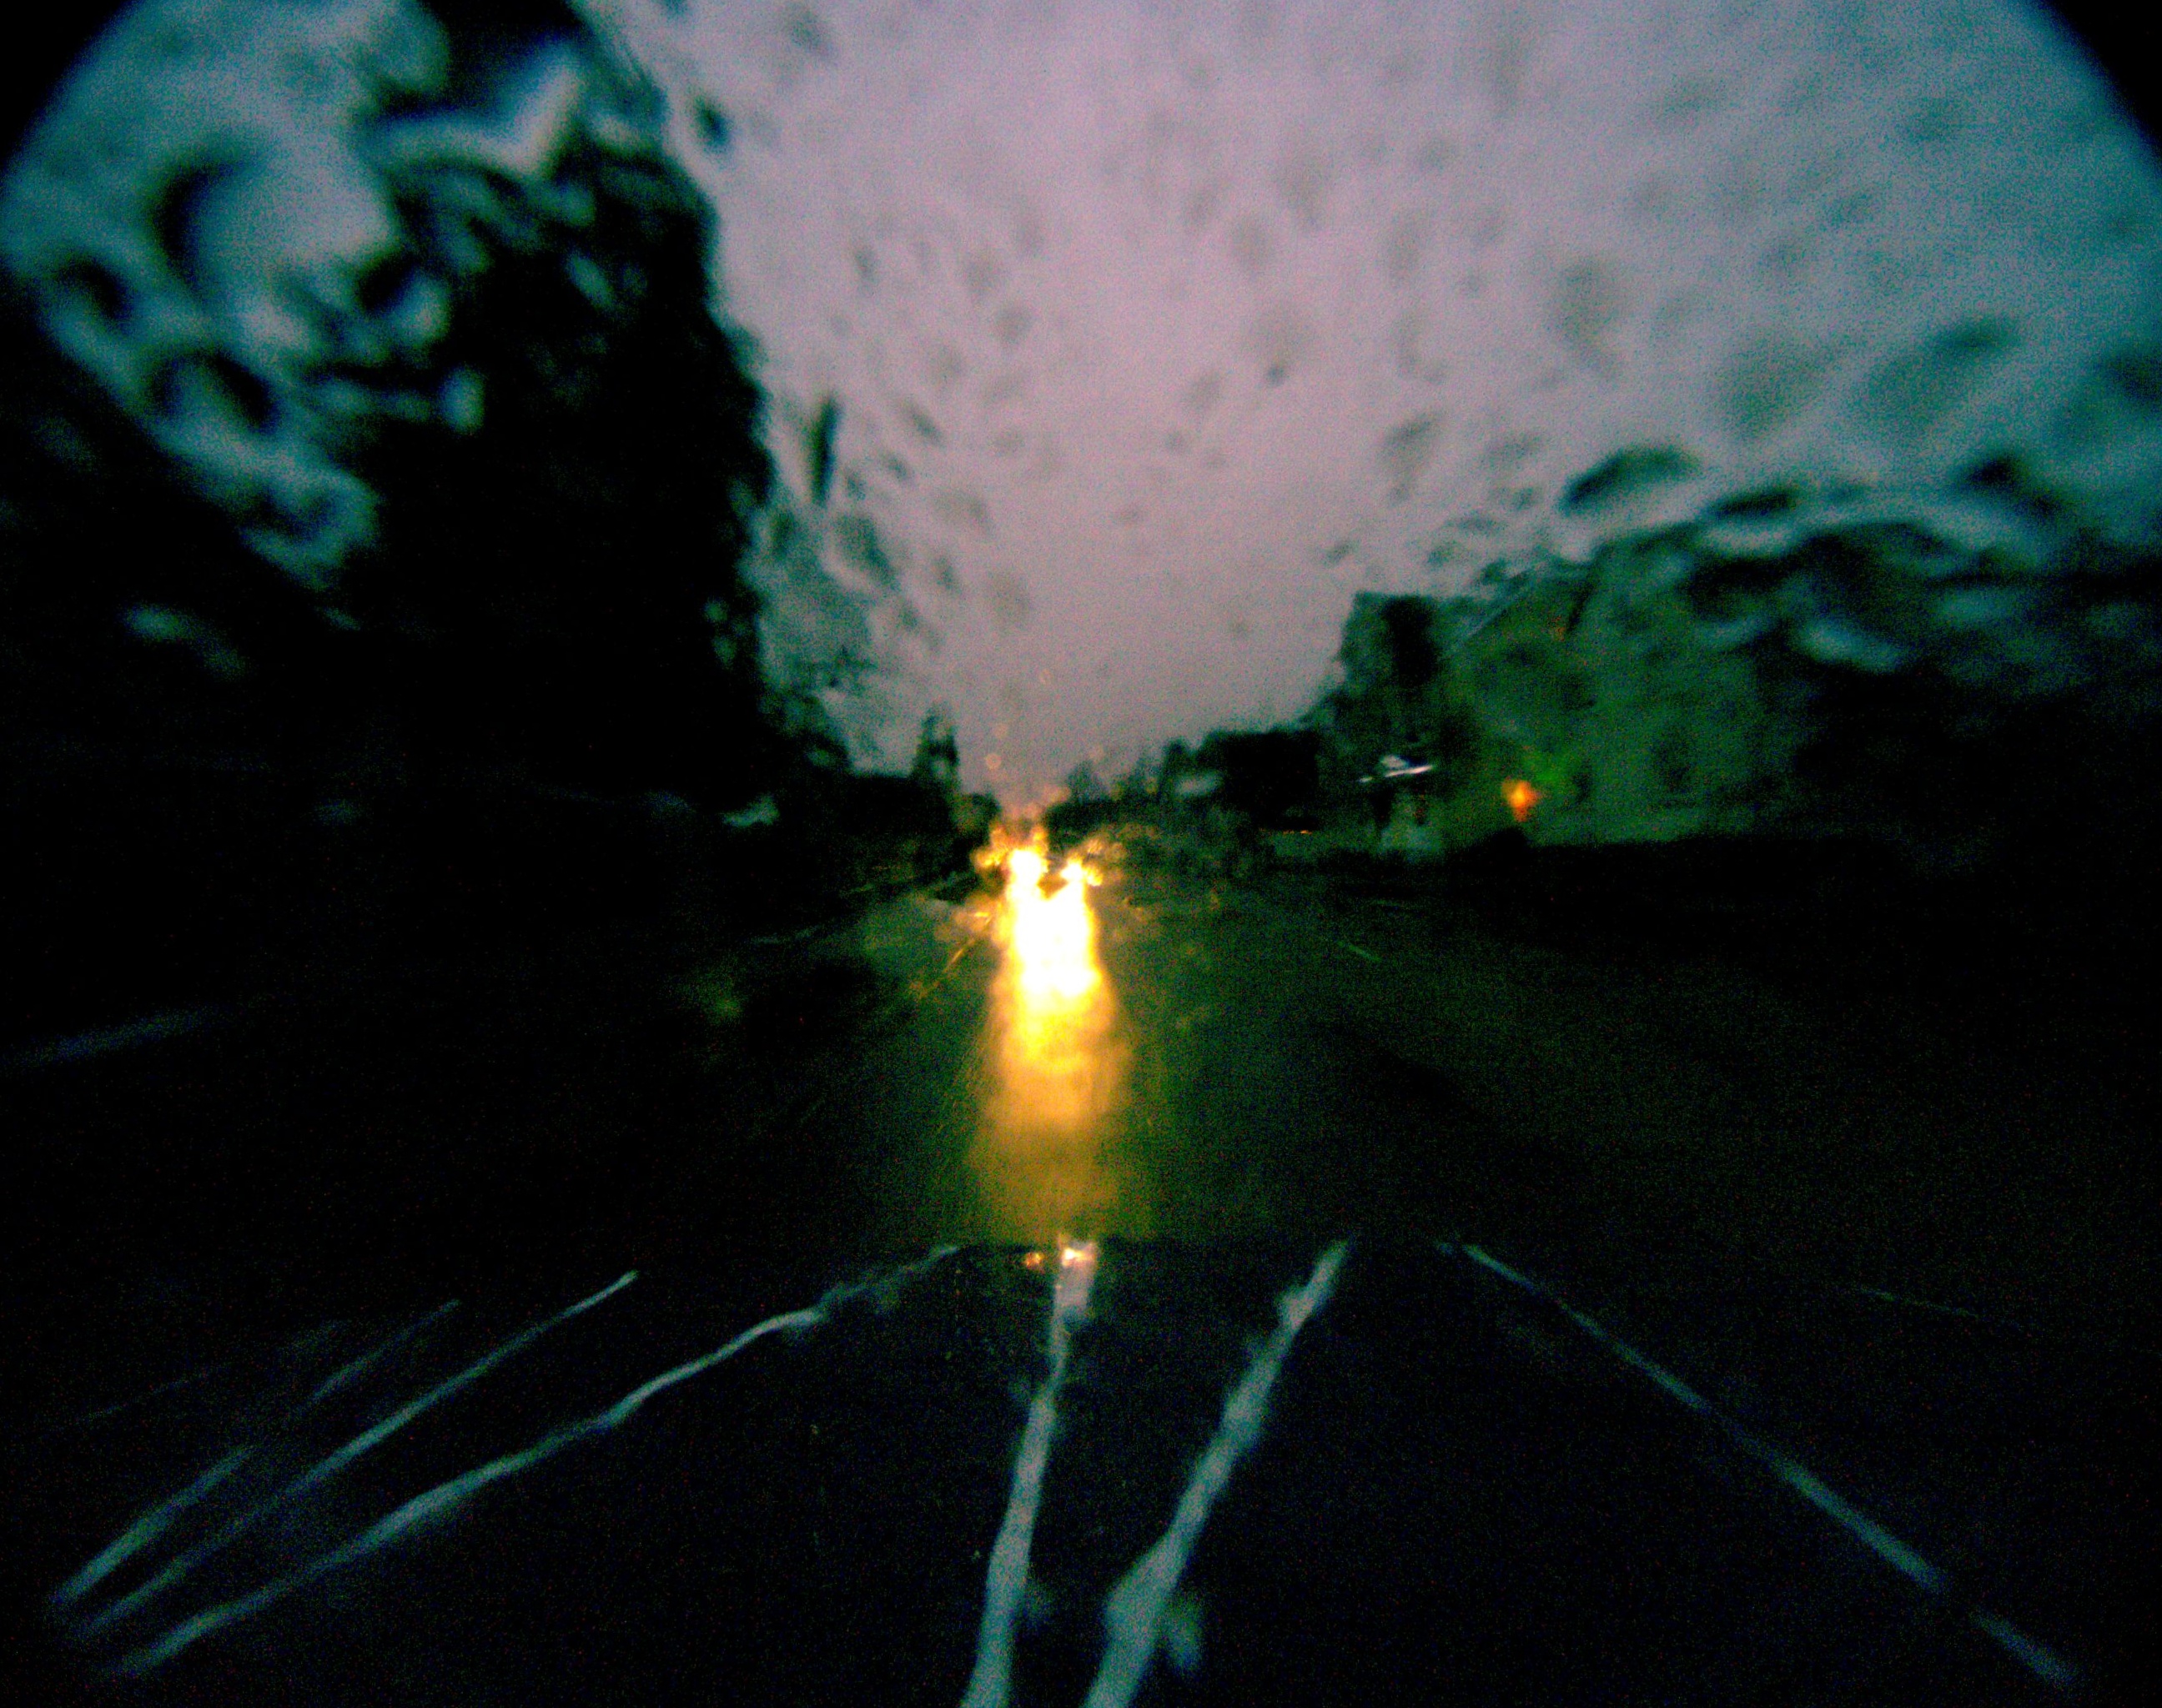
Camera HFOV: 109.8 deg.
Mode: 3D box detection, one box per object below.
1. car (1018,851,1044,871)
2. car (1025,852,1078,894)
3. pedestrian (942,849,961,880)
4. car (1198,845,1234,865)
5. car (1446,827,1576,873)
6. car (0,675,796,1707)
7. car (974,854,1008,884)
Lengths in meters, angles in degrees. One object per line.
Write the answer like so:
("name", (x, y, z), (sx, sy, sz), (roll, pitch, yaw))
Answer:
("car", (-4.582, 0.587, 69.245), (2.000, 1.660, 3.996), (-3, 1, -9))
("car", (-1.283, 0.752, 31.626), (1.999, 1.575, 3.998), (-2, 0, -4))
("pedestrian", (-7.445, 0.604, 43.611), (0.990, 1.732, 1.055), (-1, 1, -6))
("car", (10.273, 0.033, 58.052), (1.787, 1.358, 3.998), (-3, 1, -3))
("car", (16.598, -0.158, 29.453), (3.999, 1.591, 1.921), (-2, 1, -6))
("car", (-2.914, 0.687, 2.349), (1.983, 2.002, 5.744), (0, 0, -1))
("car", (-4.880, 0.771, 41.450), (1.654, 1.531, 3.389), (1, 0, -4))
